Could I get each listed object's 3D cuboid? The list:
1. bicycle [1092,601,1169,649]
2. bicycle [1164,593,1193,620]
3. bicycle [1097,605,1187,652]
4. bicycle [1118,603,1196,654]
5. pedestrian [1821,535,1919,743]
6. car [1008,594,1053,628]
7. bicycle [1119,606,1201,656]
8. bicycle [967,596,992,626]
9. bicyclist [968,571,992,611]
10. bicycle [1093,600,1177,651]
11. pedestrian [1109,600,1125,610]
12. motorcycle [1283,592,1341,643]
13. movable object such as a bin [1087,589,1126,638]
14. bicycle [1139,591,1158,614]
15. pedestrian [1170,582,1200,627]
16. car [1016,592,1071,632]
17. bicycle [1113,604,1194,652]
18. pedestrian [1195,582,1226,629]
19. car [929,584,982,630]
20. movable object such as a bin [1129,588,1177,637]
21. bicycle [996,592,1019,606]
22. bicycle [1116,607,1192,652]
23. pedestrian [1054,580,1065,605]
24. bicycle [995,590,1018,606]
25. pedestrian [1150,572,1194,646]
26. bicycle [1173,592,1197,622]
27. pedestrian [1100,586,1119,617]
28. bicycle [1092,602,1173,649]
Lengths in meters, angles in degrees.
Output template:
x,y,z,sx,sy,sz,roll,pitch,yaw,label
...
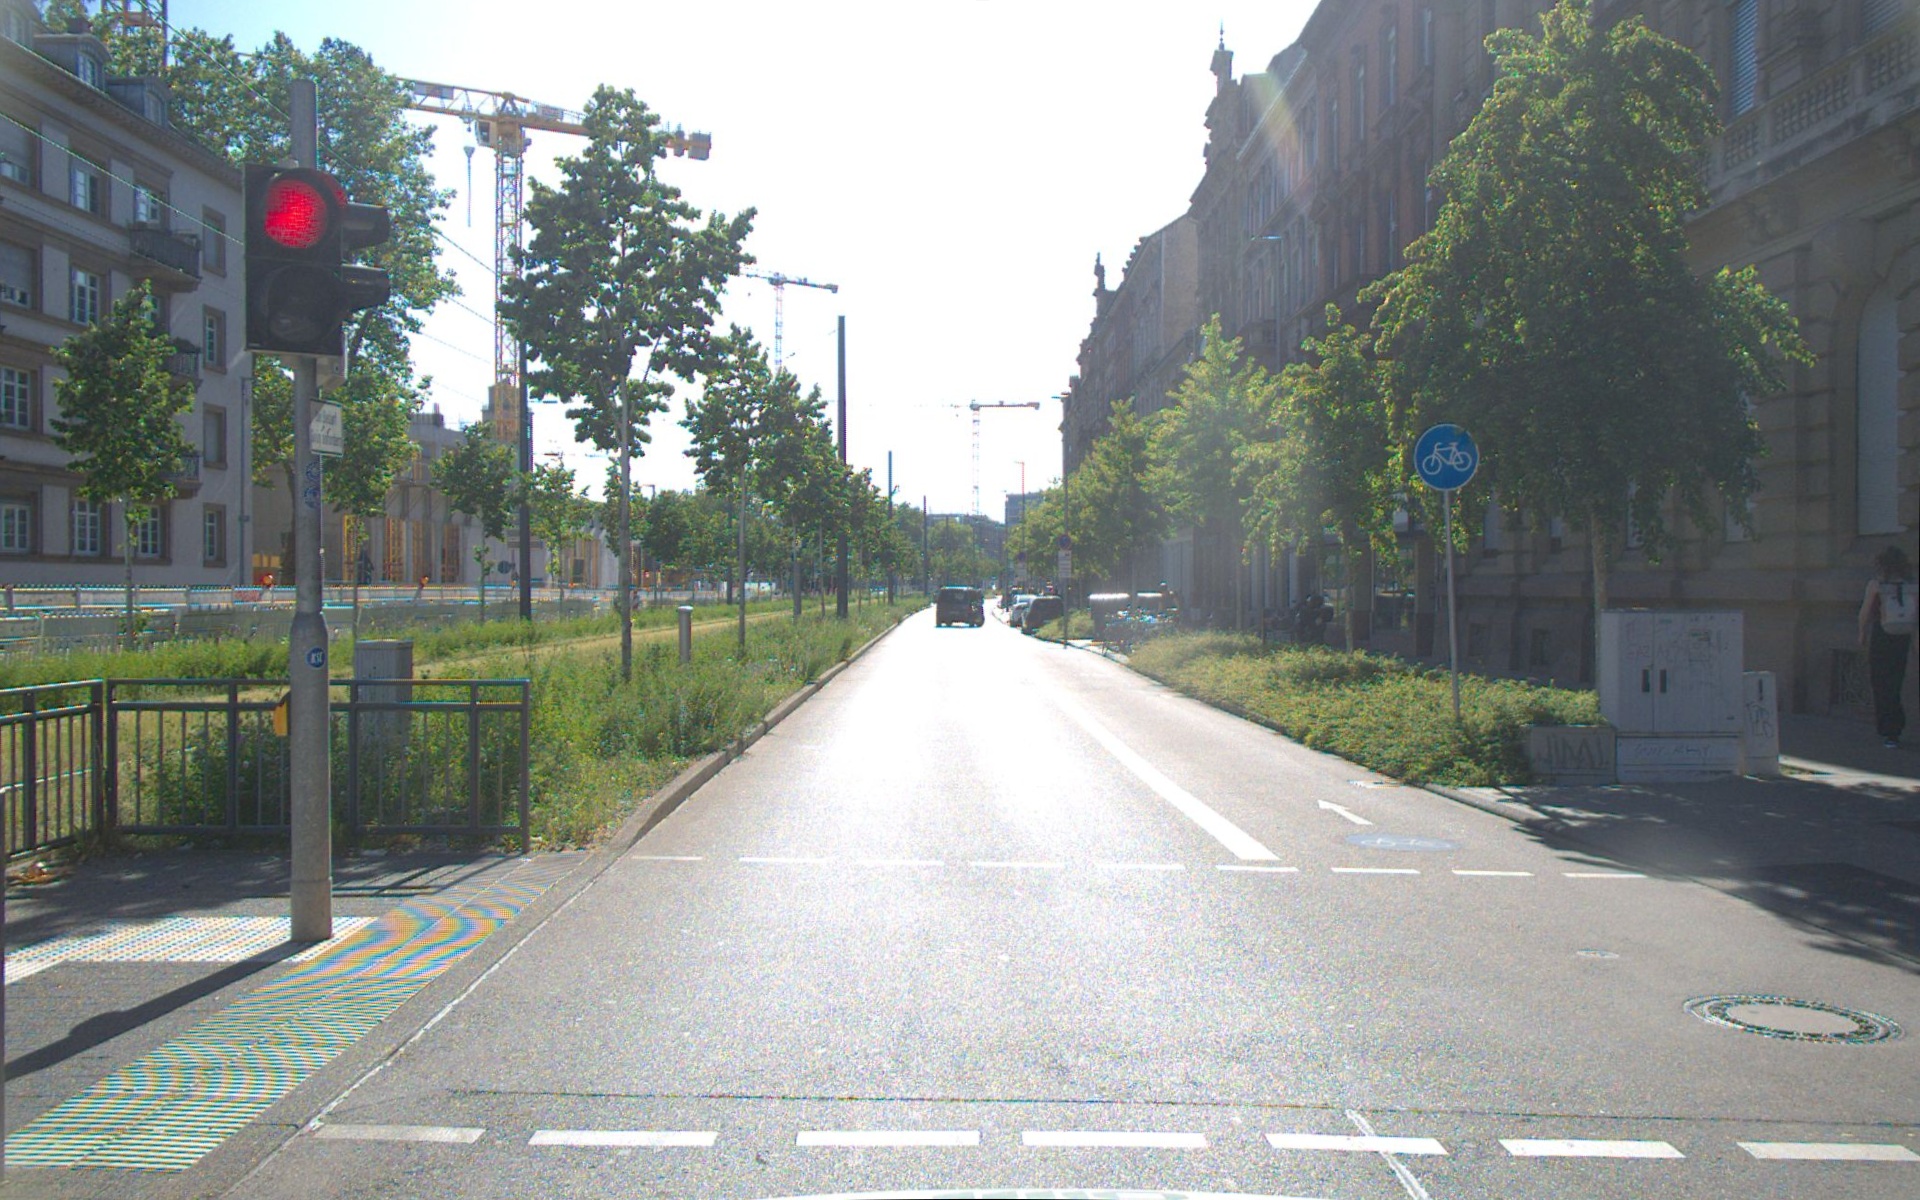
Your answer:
x,y,z,sx,sy,sz,roll,pitch,yaw,label
4.586,0.675,44.500,1.937,1.143,0.481,-4,1,-6,bicycle
9.642,0.272,73.033,0.858,1.124,2.180,-3,0,-3,bicycle
4.700,0.730,42.666,2.247,1.121,0.484,-2,0,-15,bicycle
4.771,0.681,40.039,1.829,1.199,0.373,-1,0,-4,bicycle
9.128,0.361,16.142,0.871,1.953,1.098,-2,0,4,pedestrian
3.394,0.507,80.315,1.912,1.521,5.104,-2,0,0,car
4.795,0.740,39.685,1.855,1.128,0.517,-2,0,-6,bicycle
1.003,0.562,86.581,1.185,1.490,3.999,1,0,-1,bicycle
1.039,-0.474,86.599,1.185,2.051,1.641,1,0,-1,bicyclist
4.559,0.650,43.008,2.111,1.174,0.428,-3,1,-15,bicycle
9.593,0.322,100.993,0.757,0.562,2.007,-1,1,-1,pedestrian
9.448,0.461,44.512,0.848,1.288,2.981,1,0,-1,motorcycle
4.843,0.439,54.752,1.244,1.488,1.645,1,2,4,movable object such as a bin
9.605,0.114,84.202,0.706,1.109,2.198,-1,0,0,bicycle
8.250,0.155,60.772,0.931,1.594,1.080,-1,1,-1,pedestrian
3.393,0.484,67.608,1.730,1.502,4.446,-2,0,-3,car
4.860,0.699,41.503,1.938,1.127,0.435,-2,0,-4,bicycle
9.290,0.199,61.362,0.951,1.667,0.992,-1,1,-1,pedestrian
-0.179,0.323,77.171,1.951,2.049,4.003,1,0,7,car
6.406,0.410,54.948,1.345,1.521,1.749,-3,0,0,movable object such as a bin
4.011,-0.068,139.226,1.790,1.097,0.664,-3,0,-7,bicycle
4.821,0.731,41.159,1.780,1.074,0.571,-2,0,-7,bicycle
8.378,-0.595,139.376,0.801,2.049,1.046,1,-2,-1,pedestrian
3.892,-0.140,137.690,1.843,1.255,0.499,-3,0,-6,bicycle
5.312,0.216,41.417,0.880,1.766,0.850,-3,0,16,pedestrian
9.498,0.291,69.965,0.732,1.222,1.800,-1,0,-1,bicycle
8.625,0.113,95.676,0.976,1.762,0.866,1,-1,-1,pedestrian
4.597,0.671,44.092,2.004,1.126,0.610,-3,0,-7,bicycle
